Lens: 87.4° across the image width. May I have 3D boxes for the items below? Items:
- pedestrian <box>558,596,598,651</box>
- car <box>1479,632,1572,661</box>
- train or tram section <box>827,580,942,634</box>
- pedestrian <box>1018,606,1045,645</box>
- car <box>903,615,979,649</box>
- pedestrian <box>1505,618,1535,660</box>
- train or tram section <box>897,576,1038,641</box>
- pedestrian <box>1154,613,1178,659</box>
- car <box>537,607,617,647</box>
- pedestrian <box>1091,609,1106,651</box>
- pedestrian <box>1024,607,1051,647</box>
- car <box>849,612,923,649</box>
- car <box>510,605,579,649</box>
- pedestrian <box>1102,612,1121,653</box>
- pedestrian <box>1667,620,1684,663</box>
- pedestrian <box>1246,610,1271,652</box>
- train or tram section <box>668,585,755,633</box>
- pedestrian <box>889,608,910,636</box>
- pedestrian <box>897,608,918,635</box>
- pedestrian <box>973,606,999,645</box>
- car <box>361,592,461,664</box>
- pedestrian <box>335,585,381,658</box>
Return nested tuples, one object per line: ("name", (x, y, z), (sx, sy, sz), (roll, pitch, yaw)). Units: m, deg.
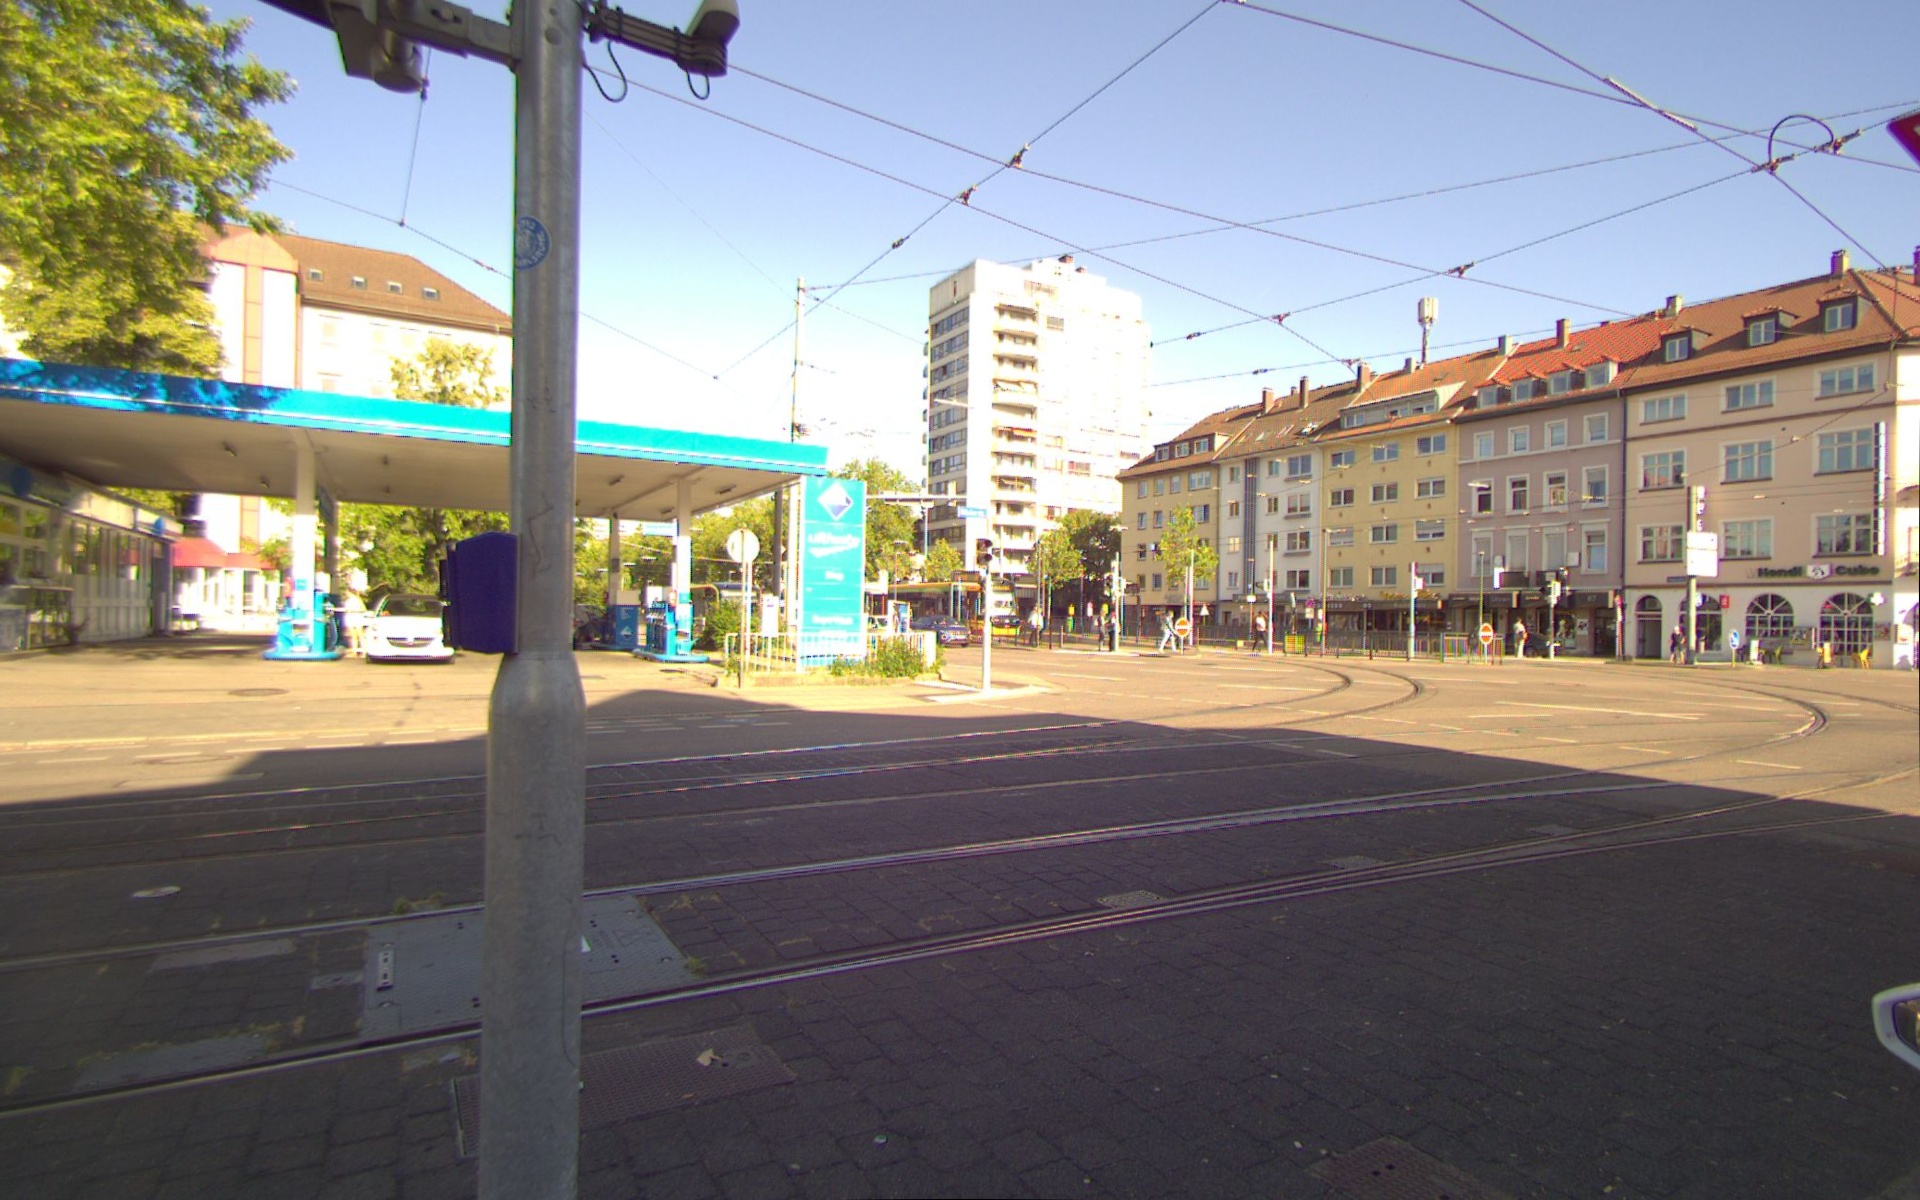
("pedestrian", (-12.993, 0.786, 34.172), (0.893, 1.826, 0.896), (1, -1, 10))
("car", (30.770, 2.500, 54.709), (1.980, 1.483, 3.962), (1, -1, -34))
("train or tram section", (-5.255, 0.522, 67.579), (3.252, 3.335, 10.157), (1, -1, -33))
("pedestrian", (3.360, 1.197, 47.043), (0.902, 1.826, 0.887), (1, -1, -33))
("car", (-0.964, 1.493, 48.345), (1.937, 1.475, 4.077), (1, 0, -30))
("pedestrian", (24.490, 1.698, 43.950), (0.801, 1.842, 0.871), (1, -1, -29))
("train or tram section", (0.225, 0.519, 58.961), (3.252, 3.459, 10.157), (1, -1, -33))
("pedestrian", (7.945, 1.385, 38.760), (0.733, 1.721, 0.554), (1, -1, -10))
("car", (-17.210, 1.212, 45.381), (1.960, 1.685, 4.001), (1, -1, 2))
("pedestrian", (5.803, 1.262, 42.105), (0.487, 1.721, 0.558), (0, -1, 25))
("pedestrian", (3.549, 1.242, 45.960), (0.902, 1.826, 0.887), (1, -1, -33))
("car", (-3.513, 1.395, 46.804), (1.976, 1.615, 3.970), (1, -1, -29))
("car", (-13.509, 0.864, 32.576), (1.752, 1.332, 3.520), (1, -1, -28))
("pedestrian", (6.192, 1.331, 40.969), (0.698, 1.646, 0.800), (1, -1, 12))
("pedestrian", (34.204, 1.987, 48.015), (0.498, 2.040, 0.507), (1, -1, -27))
("pedestrian", (12.435, 1.273, 41.901), (0.686, 1.721, 0.779), (1, -1, -15))
("train or tram section", (-15.035, 0.452, 60.037), (2.233, 2.627, 10.398), (2, 0, -30))
("pedestrian", (-3.583, 1.299, 59.237), (0.902, 1.646, 0.887), (1, -1, -33))
("pedestrian", (-3.174, 1.299, 60.549), (0.902, 1.646, 0.887), (1, -1, -33))
("pedestrian", (1.242, 1.225, 48.386), (0.902, 1.826, 0.887), (1, -1, -33))
("car", (-12.280, 0.606, 22.431), (1.773, 1.461, 3.968), (2, -1, -30))
("pedestrian", (-13.909, 0.504, 23.234), (0.801, 1.652, 0.643), (1, -1, -24))
